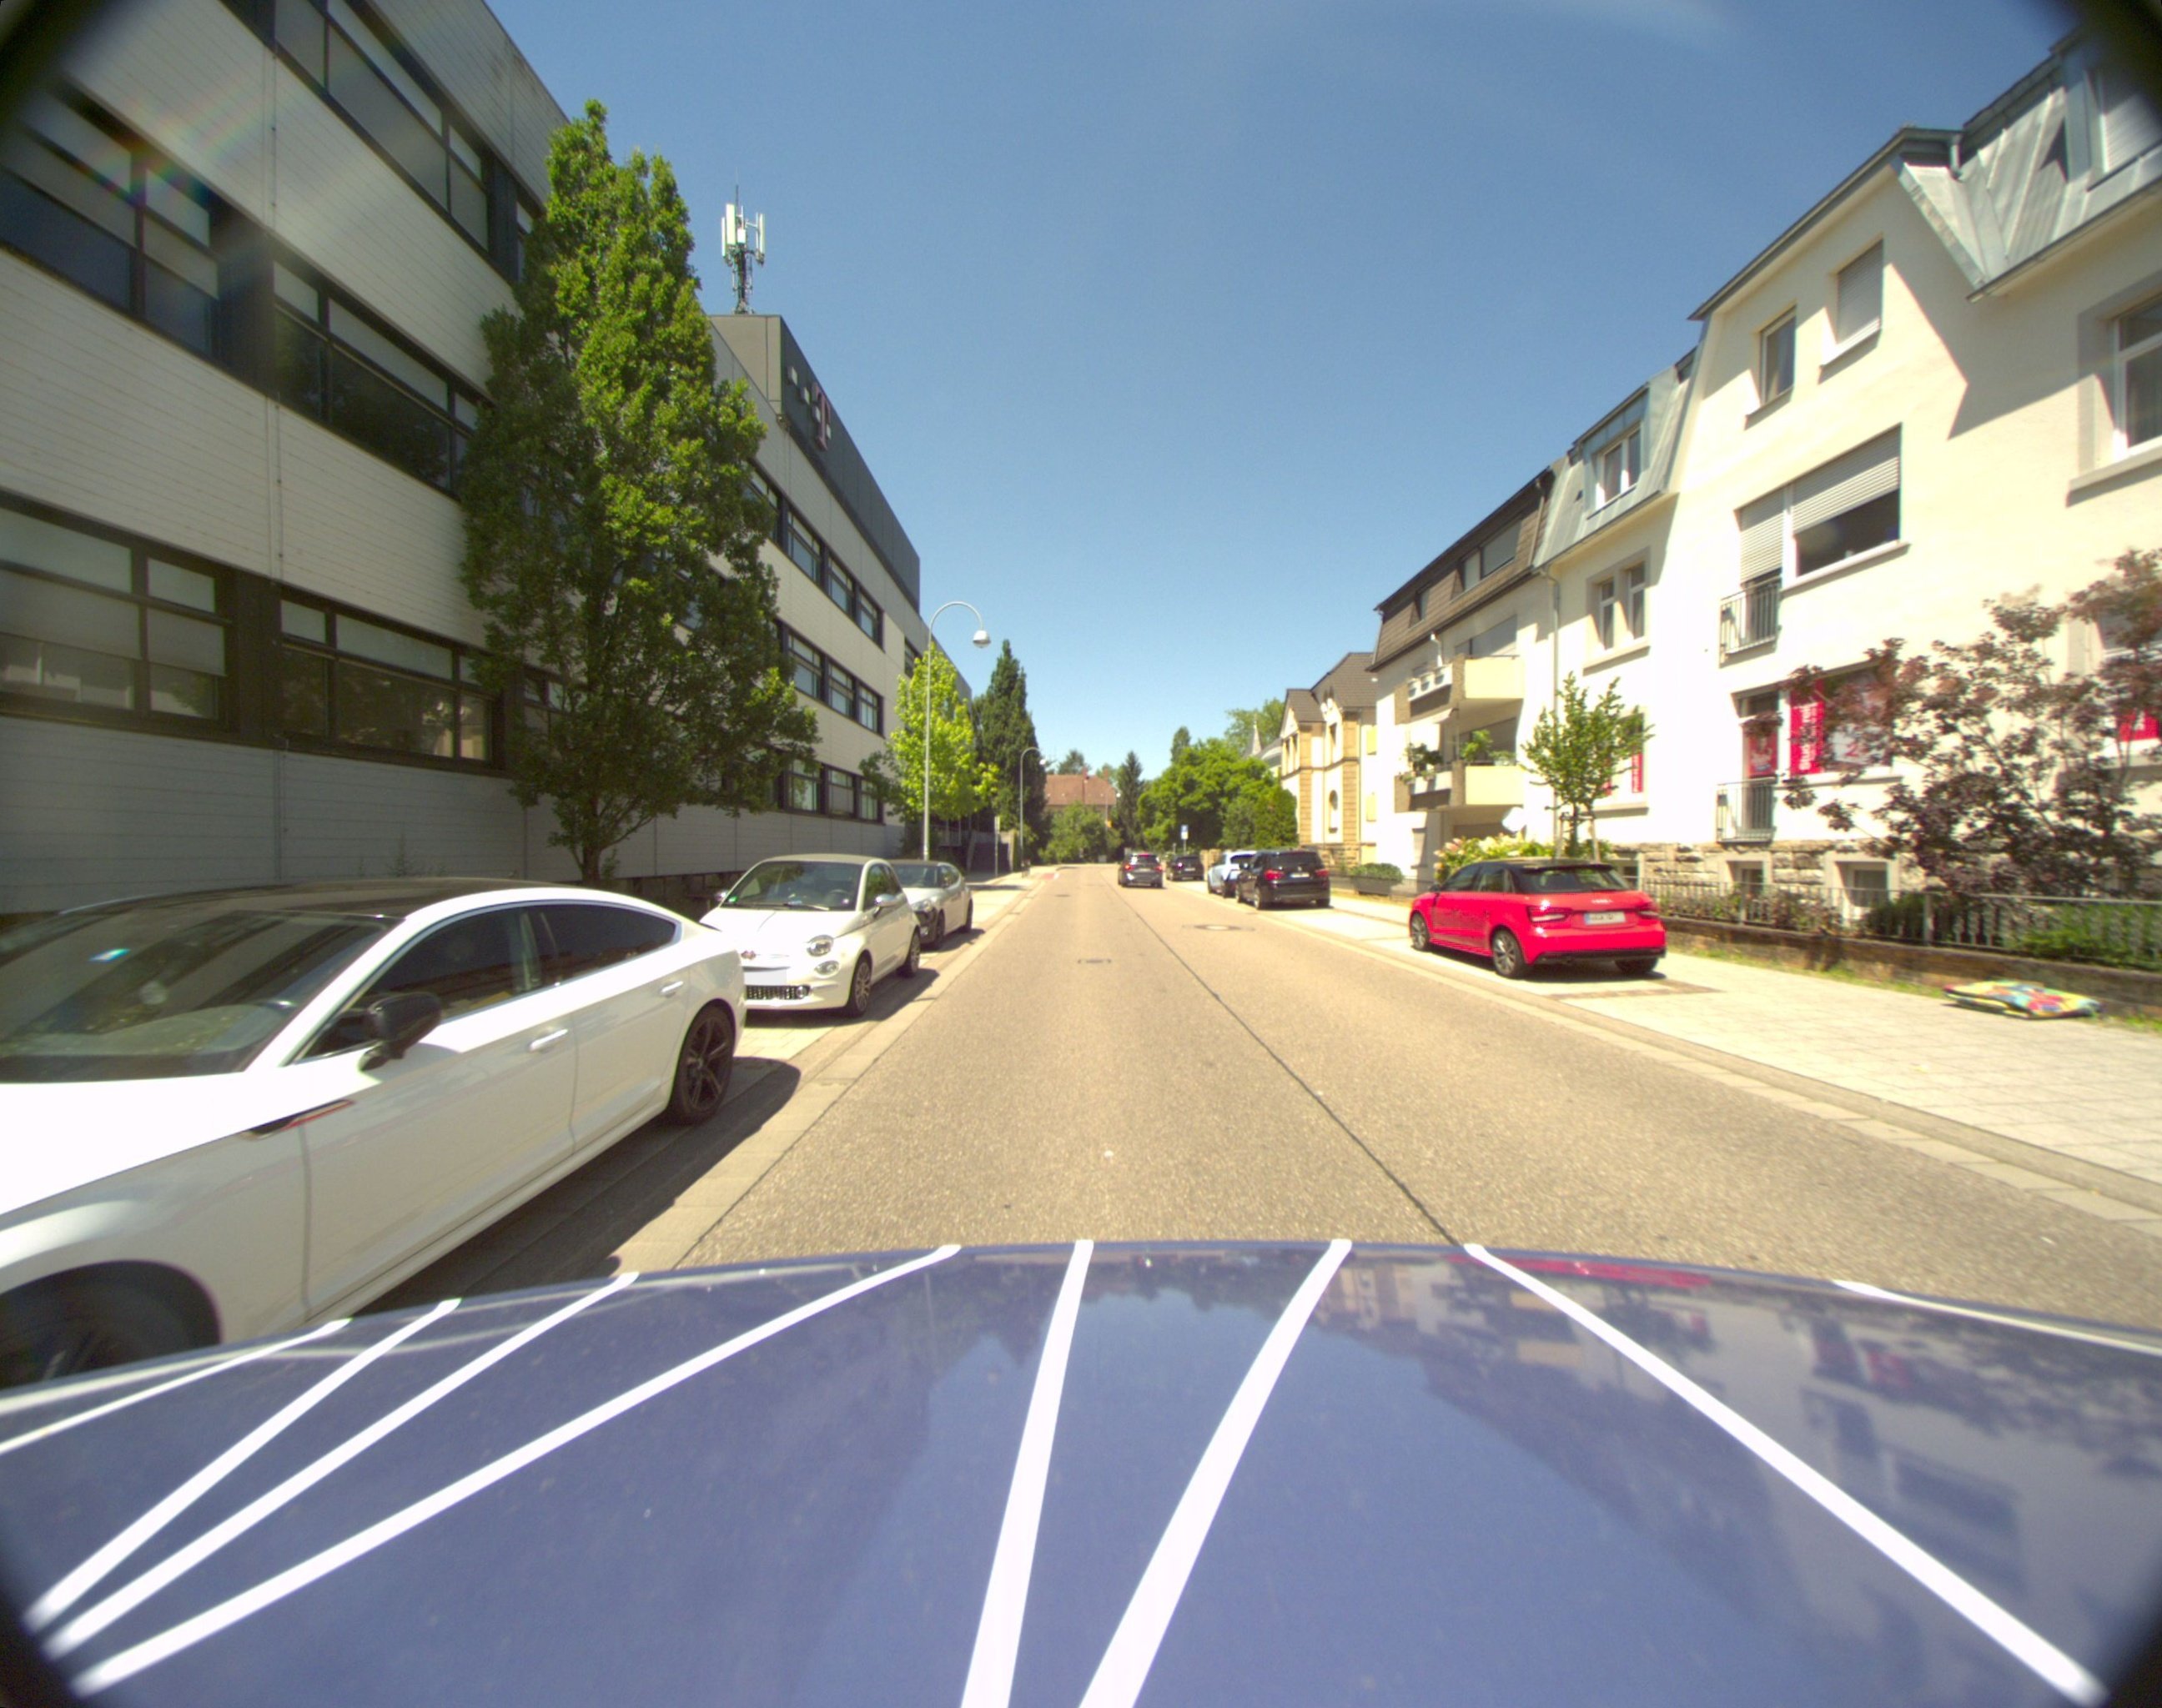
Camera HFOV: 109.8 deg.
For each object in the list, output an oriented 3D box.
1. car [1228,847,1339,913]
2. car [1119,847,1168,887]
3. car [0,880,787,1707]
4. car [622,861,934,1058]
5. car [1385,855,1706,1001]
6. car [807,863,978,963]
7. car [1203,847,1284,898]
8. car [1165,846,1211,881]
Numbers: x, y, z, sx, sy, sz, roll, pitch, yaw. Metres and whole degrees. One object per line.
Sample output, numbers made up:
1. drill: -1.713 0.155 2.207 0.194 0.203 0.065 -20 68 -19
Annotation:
1. car: 5.600 0.642 21.590 1.925 1.577 4.435 -3 1 1
2. car: 2.787 0.542 34.711 1.925 1.668 4.286 0 1 0
3. car: -2.987 0.942 2.813 1.920 1.460 4.879 1 1 0
4. car: -2.804 0.866 8.020 1.715 1.490 3.876 1 1 0
5. car: 5.847 0.801 10.297 1.737 1.444 4.259 -3 1 1
6. car: -3.012 0.877 13.060 1.841 1.357 4.000 1 1 2
7. car: 5.679 0.573 27.106 1.925 1.577 4.287 -3 1 1
8. car: 5.802 0.470 41.495 1.925 1.681 4.287 -3 1 2
